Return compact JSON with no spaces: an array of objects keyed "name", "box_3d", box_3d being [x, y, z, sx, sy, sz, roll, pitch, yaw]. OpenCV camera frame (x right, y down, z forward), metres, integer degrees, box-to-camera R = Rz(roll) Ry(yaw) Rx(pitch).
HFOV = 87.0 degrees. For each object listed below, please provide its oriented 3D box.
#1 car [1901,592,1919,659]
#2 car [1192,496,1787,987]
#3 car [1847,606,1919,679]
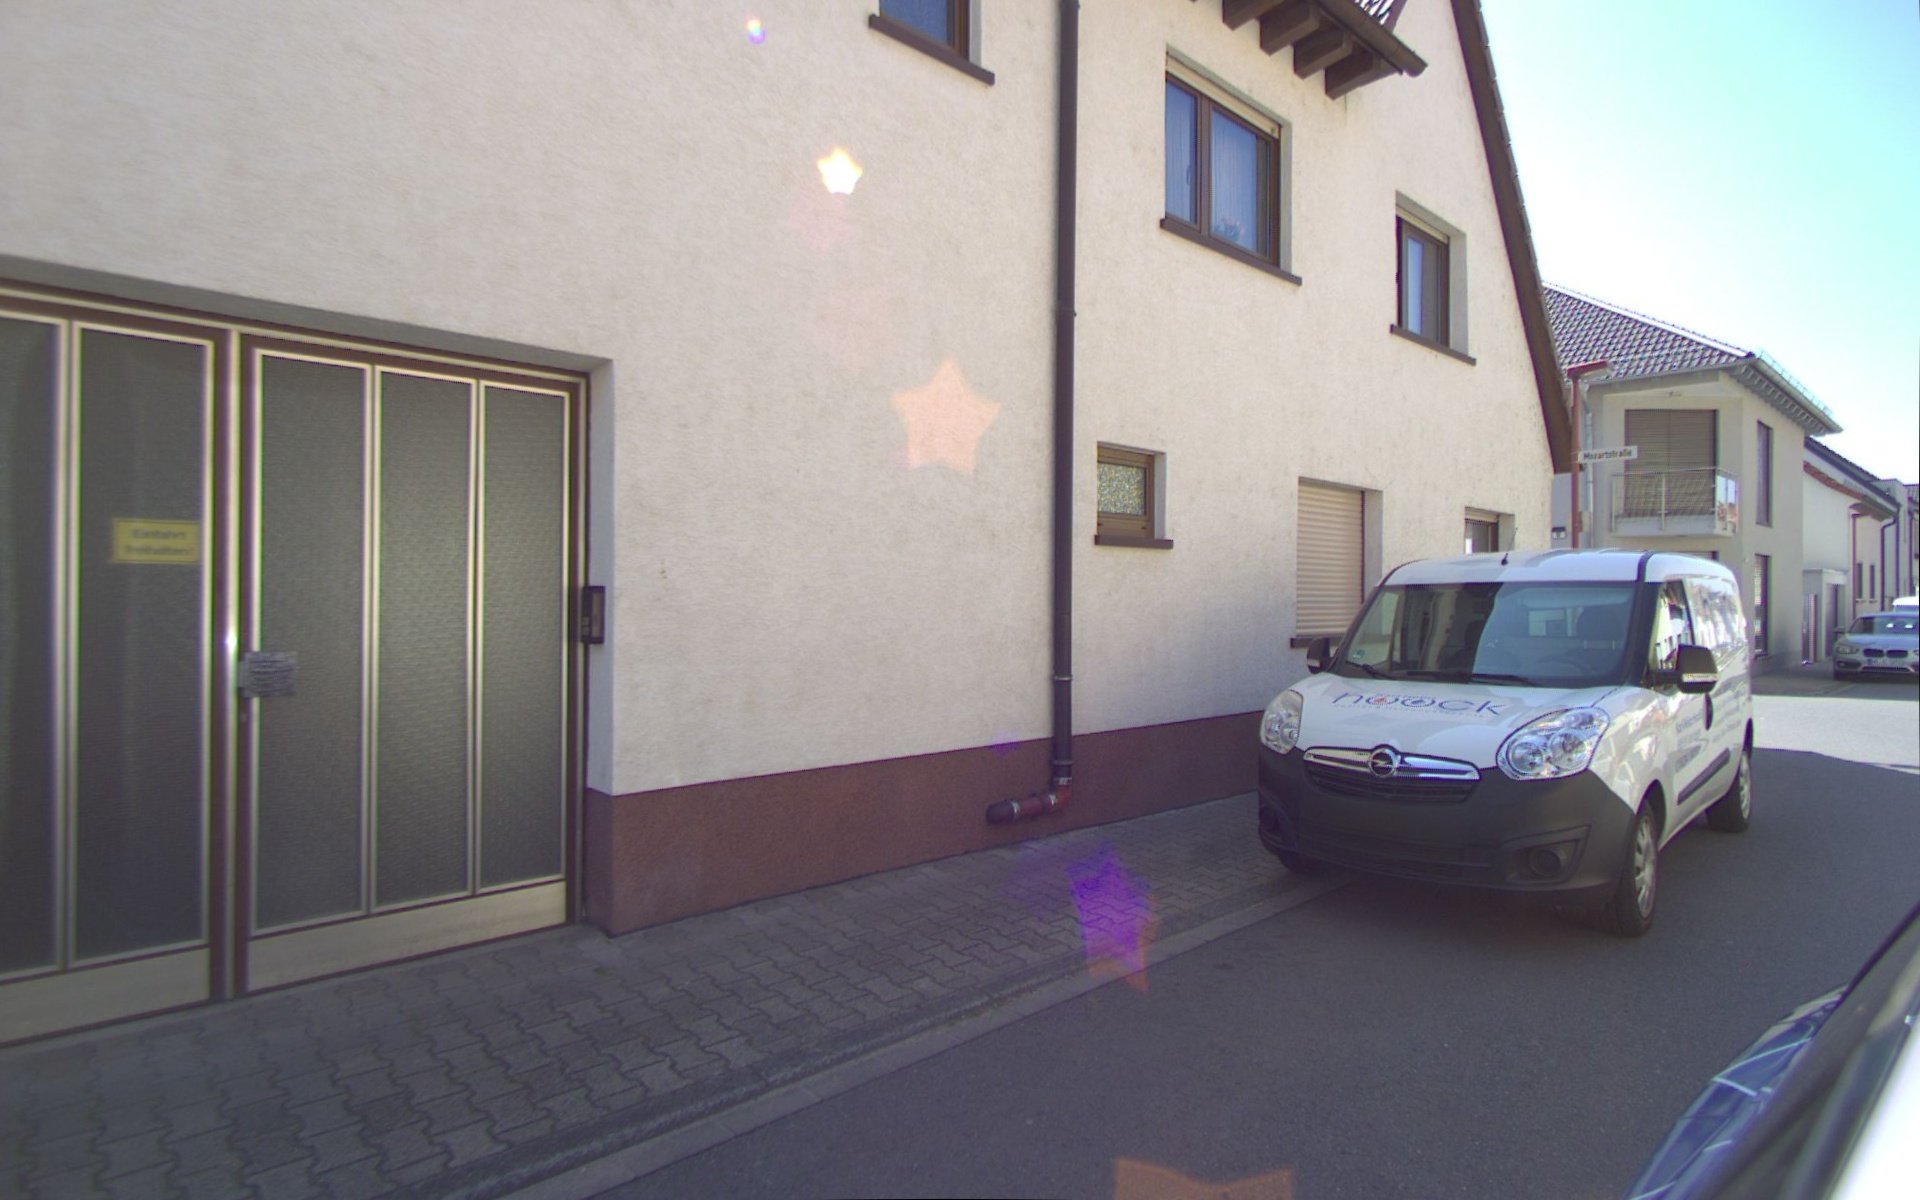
[{"name":"car","box_3d":[26.671,0.689,27.267,3.723,1.751,1.682,1,0,-43]},{"name":"car","box_3d":[3.515,0.532,6.153,4.771,1.848,1.810,0,-1,-45]},{"name":"car","box_3d":[19.964,0.844,21.185,3.861,1.386,1.636,0,-1,-42]}]
